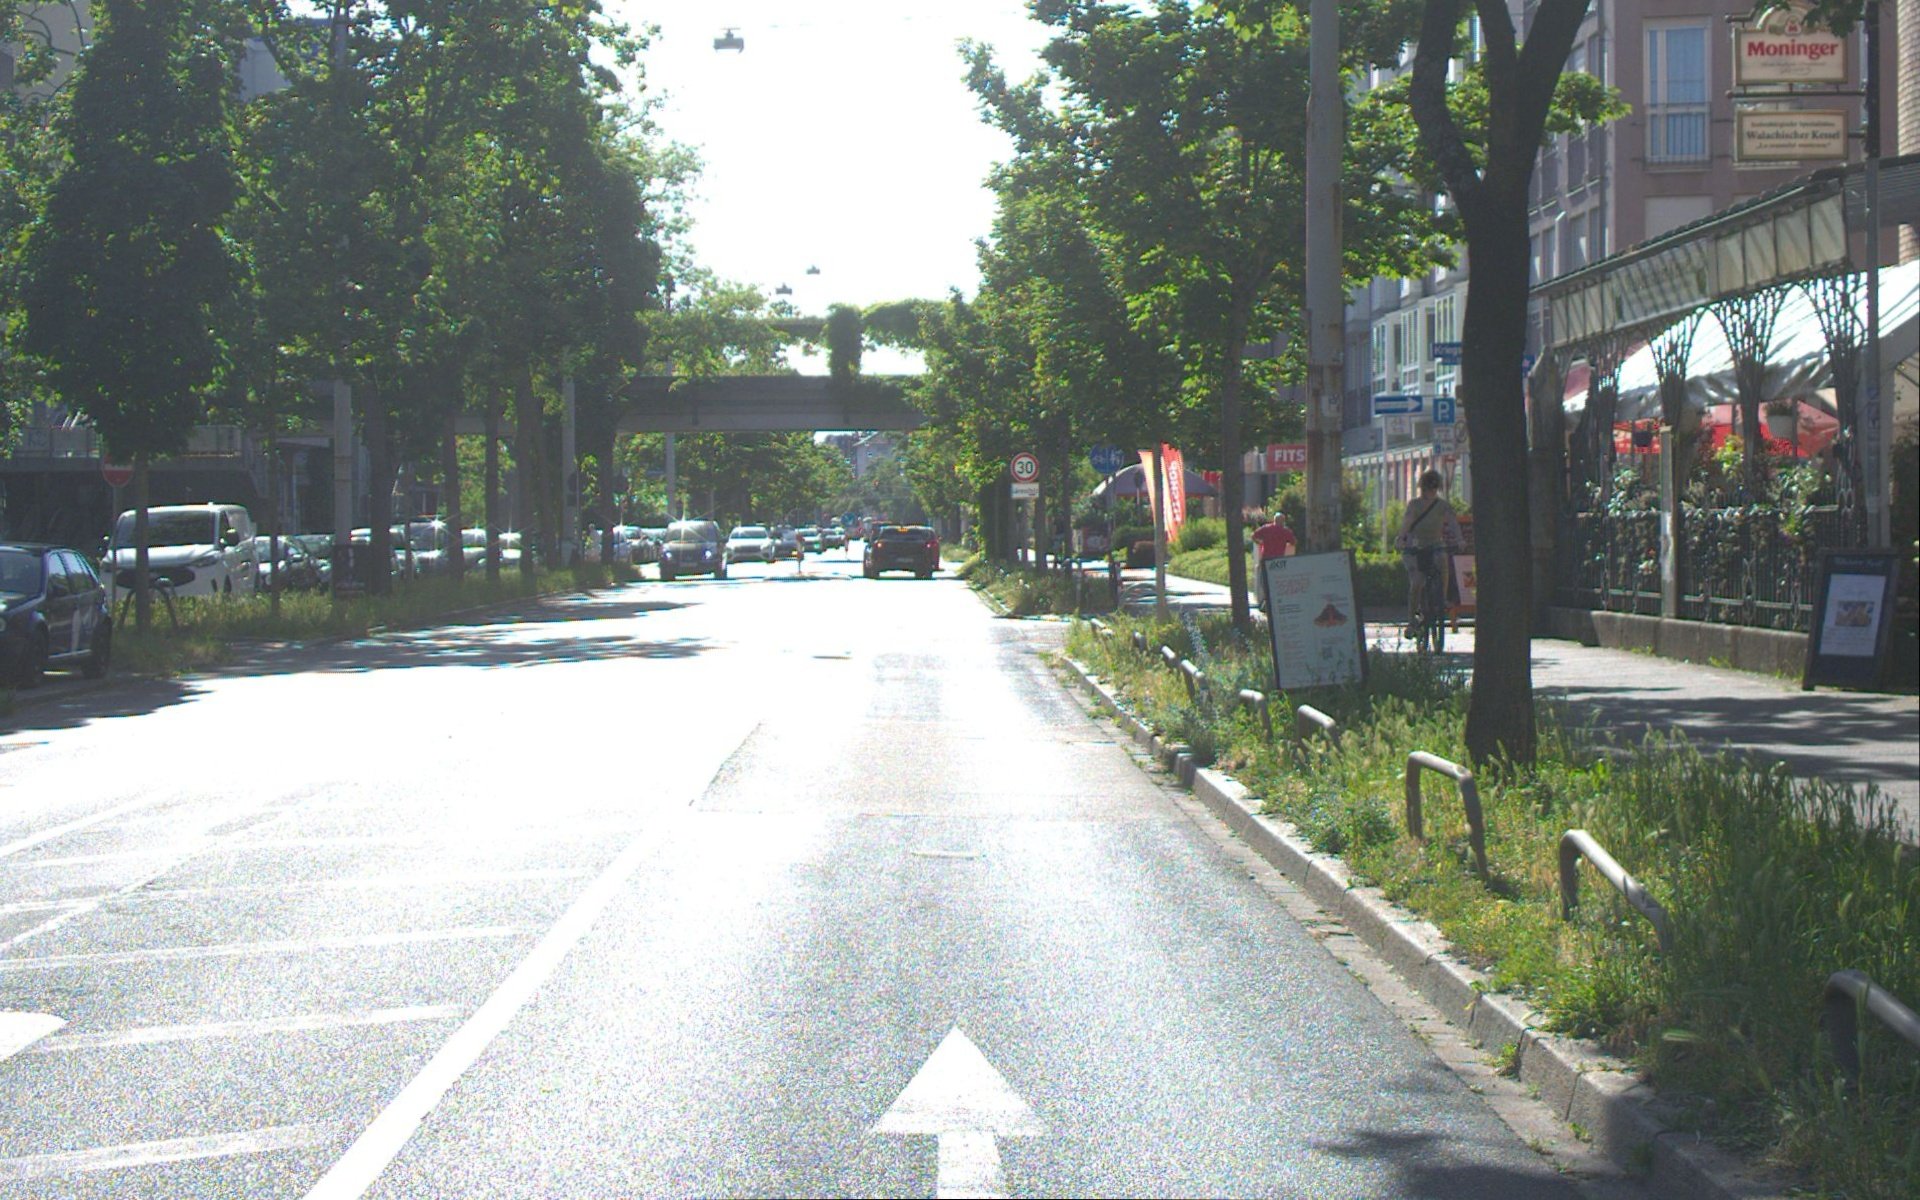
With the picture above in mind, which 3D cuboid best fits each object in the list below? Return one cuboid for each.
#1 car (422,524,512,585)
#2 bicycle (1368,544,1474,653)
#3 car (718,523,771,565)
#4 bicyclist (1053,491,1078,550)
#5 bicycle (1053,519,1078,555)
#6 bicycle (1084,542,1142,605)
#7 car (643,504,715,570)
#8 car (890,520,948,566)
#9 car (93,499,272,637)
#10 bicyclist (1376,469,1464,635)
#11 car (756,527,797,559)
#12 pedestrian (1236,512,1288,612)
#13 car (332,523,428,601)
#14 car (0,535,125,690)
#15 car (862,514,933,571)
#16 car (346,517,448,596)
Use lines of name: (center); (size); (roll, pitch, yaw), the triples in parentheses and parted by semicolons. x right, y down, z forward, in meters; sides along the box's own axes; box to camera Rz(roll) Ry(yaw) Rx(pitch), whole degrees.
car: (-13.097, -1.231, 91.453); (1.855, 1.563, 3.872); (1, 1, 0)
bicycle: (4.474, -0.026, 33.485); (0.685, 1.024, 2.096); (0, 0, -2)
car: (-8.473, -2.220, 135.390); (1.855, 1.563, 4.716); (-2, 1, -2)
bicyclist: (3.023, -2.272, 98.437); (0.667, 1.689, 0.889); (1, 1, -1)
bicycle: (3.019, -1.799, 98.464); (0.589, 1.024, 1.860); (0, 0, -2)
bicycle: (2.693, -0.477, 60.339); (0.591, 1.062, 2.021); (0, 1, 15)
car: (-8.242, -1.868, 101.293); (1.855, 1.818, 4.610); (-2, 1, -2)
car: (-1.365, -1.933, 116.173); (1.856, 1.518, 4.319); (1, 1, 1)
car: (-12.635, -0.558, 56.177); (1.981, 2.069, 5.198); (-2, 1, -3)
bicyclist: (4.476, -0.465, 33.489); (0.700, 1.594, 0.955); (0, 0, -2)
car: (-8.851, -2.762, 166.153); (1.855, 1.435, 4.319); (-2, 1, -2)
pedestrian: (4.990, -0.625, 56.800); (0.653, 1.598, 0.603); (-3, 1, -6)
car: (-13.048, -0.878, 77.496); (1.855, 1.678, 4.666); (1, 1, -6)
car: (-9.888, 0.082, 35.041); (1.712, 1.453, 4.072); (1, 1, 1)
car: (-1.856, -1.701, 100.633); (1.984, 1.595, 4.141); (0, 1, -2)
car: (-13.637, -1.072, 83.450); (1.855, 1.843, 4.562); (1, 1, -2)
